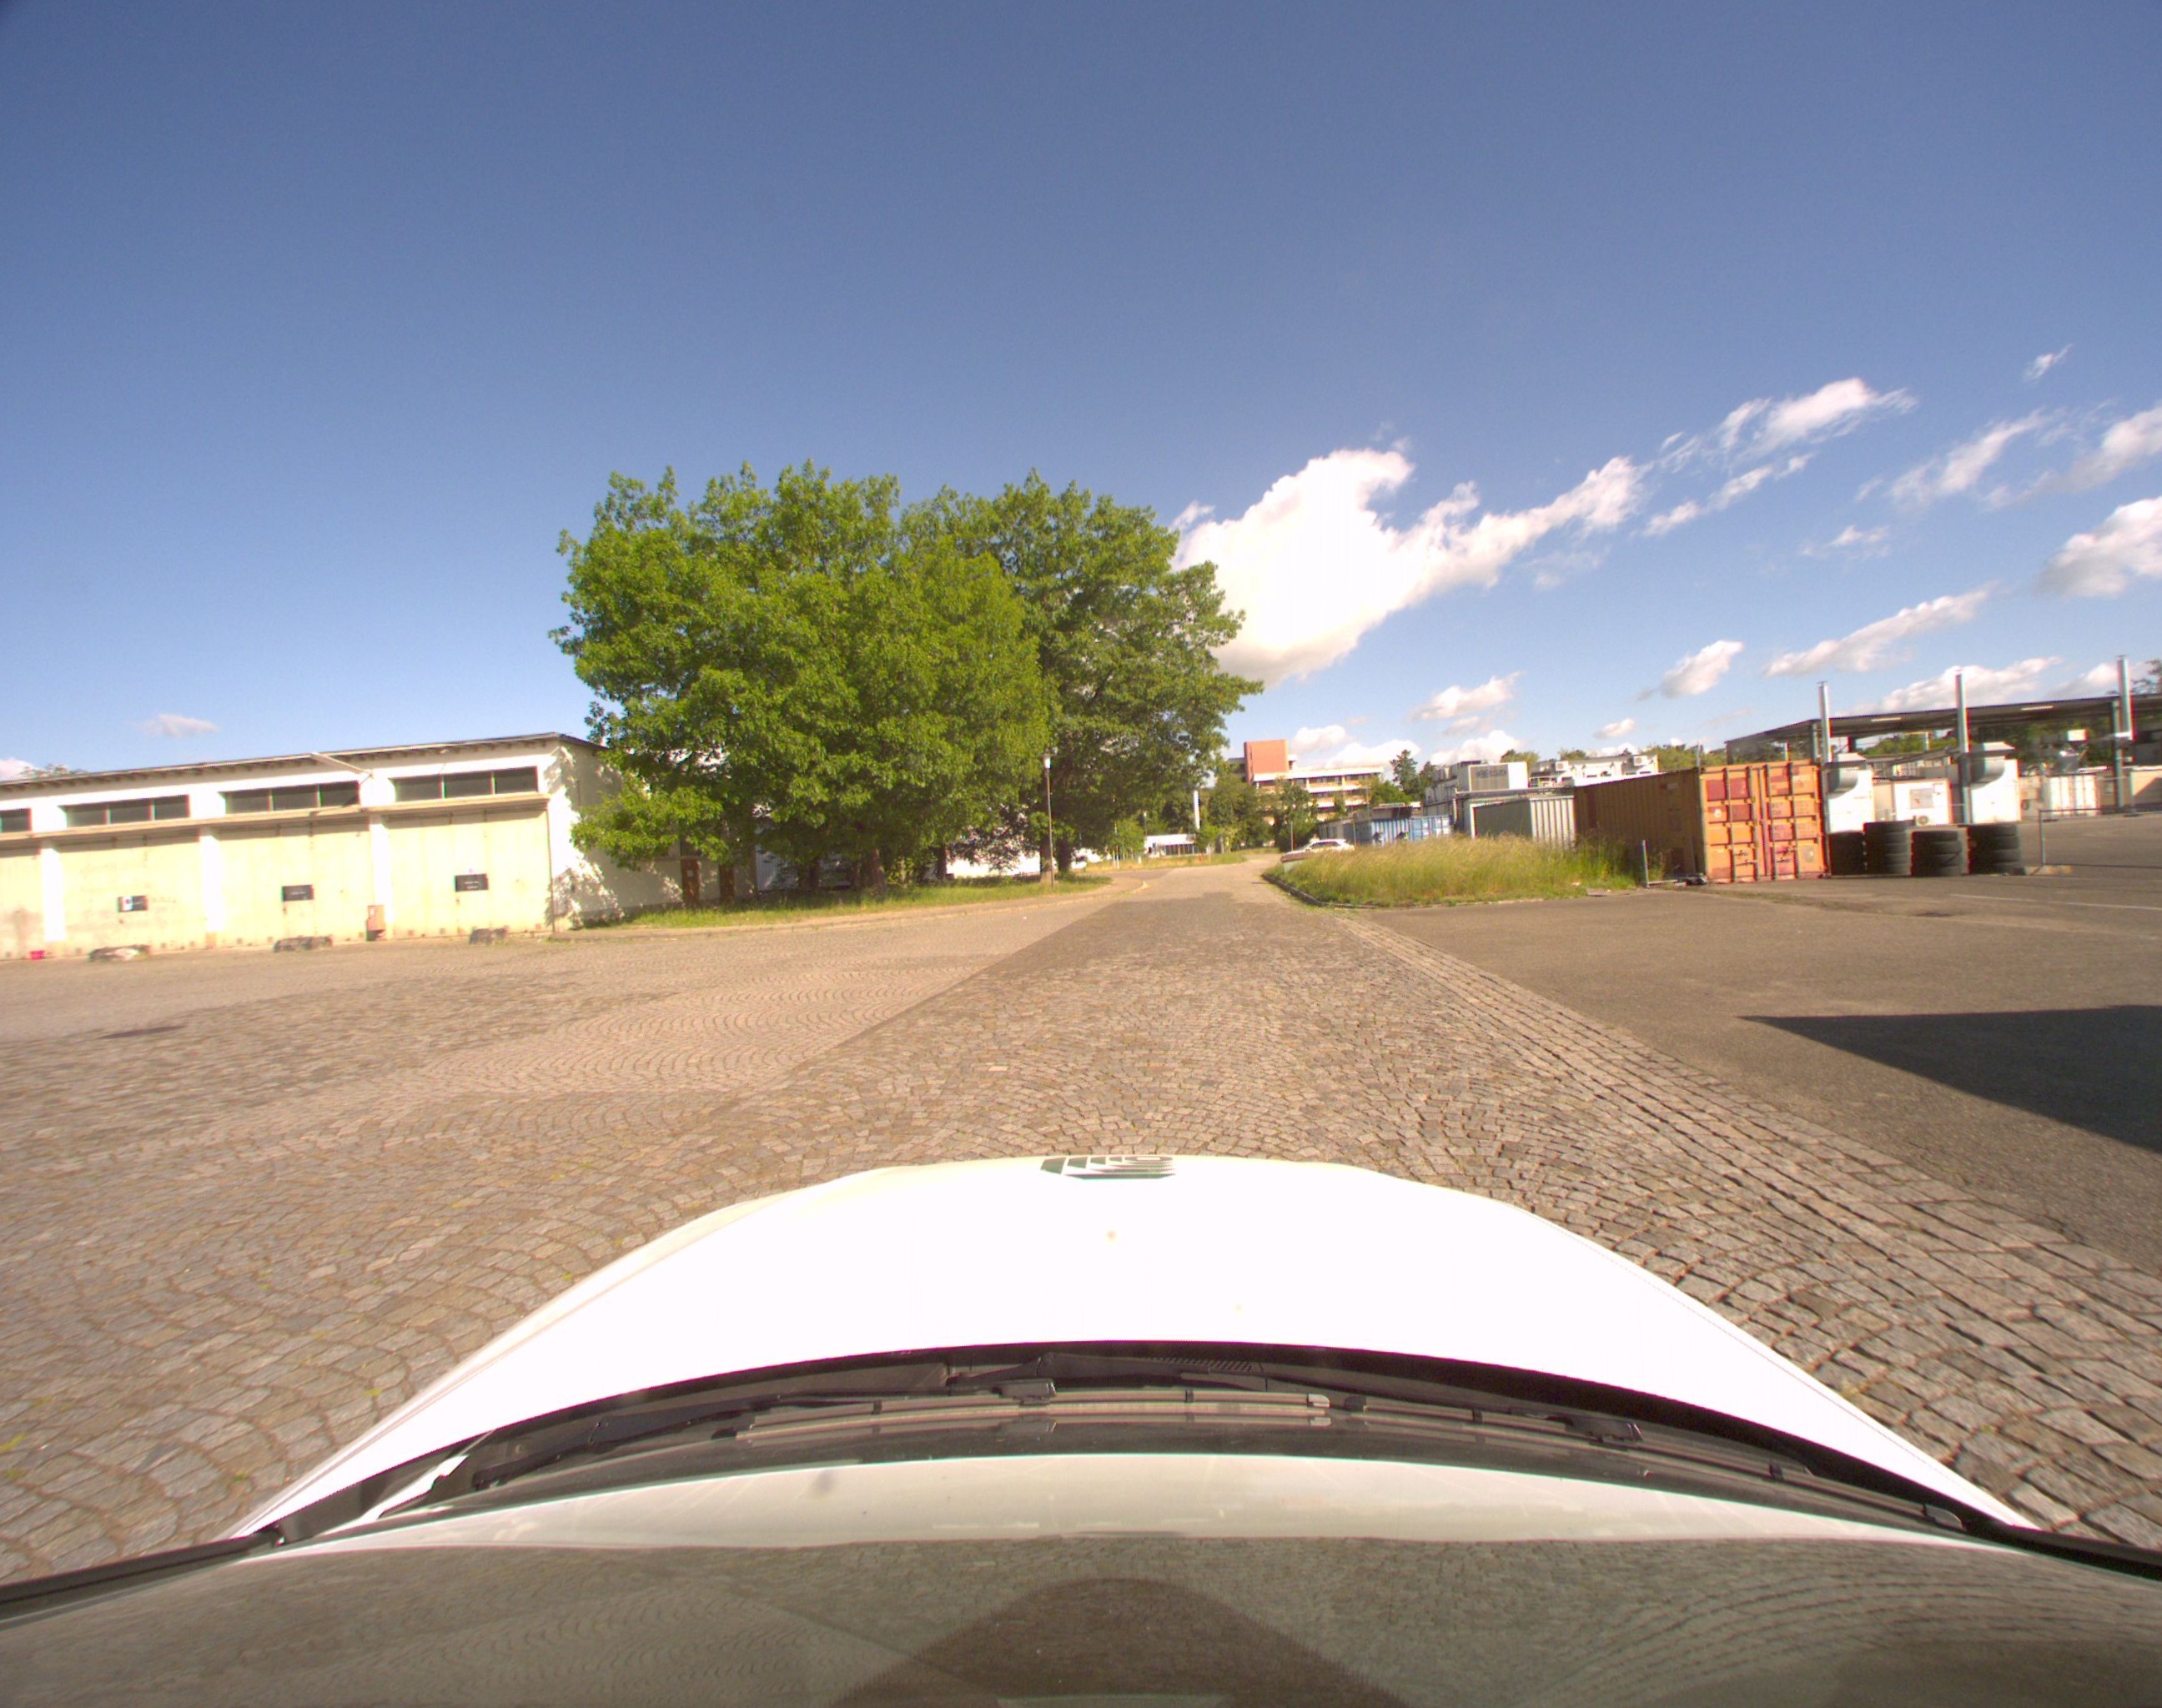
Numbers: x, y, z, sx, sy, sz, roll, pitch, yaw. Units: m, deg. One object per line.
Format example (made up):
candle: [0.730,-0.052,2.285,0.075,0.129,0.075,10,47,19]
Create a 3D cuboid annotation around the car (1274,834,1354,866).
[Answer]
car: [14.634,-0.228,51.343,4.561,1.677,1.879,-4,0,8]
